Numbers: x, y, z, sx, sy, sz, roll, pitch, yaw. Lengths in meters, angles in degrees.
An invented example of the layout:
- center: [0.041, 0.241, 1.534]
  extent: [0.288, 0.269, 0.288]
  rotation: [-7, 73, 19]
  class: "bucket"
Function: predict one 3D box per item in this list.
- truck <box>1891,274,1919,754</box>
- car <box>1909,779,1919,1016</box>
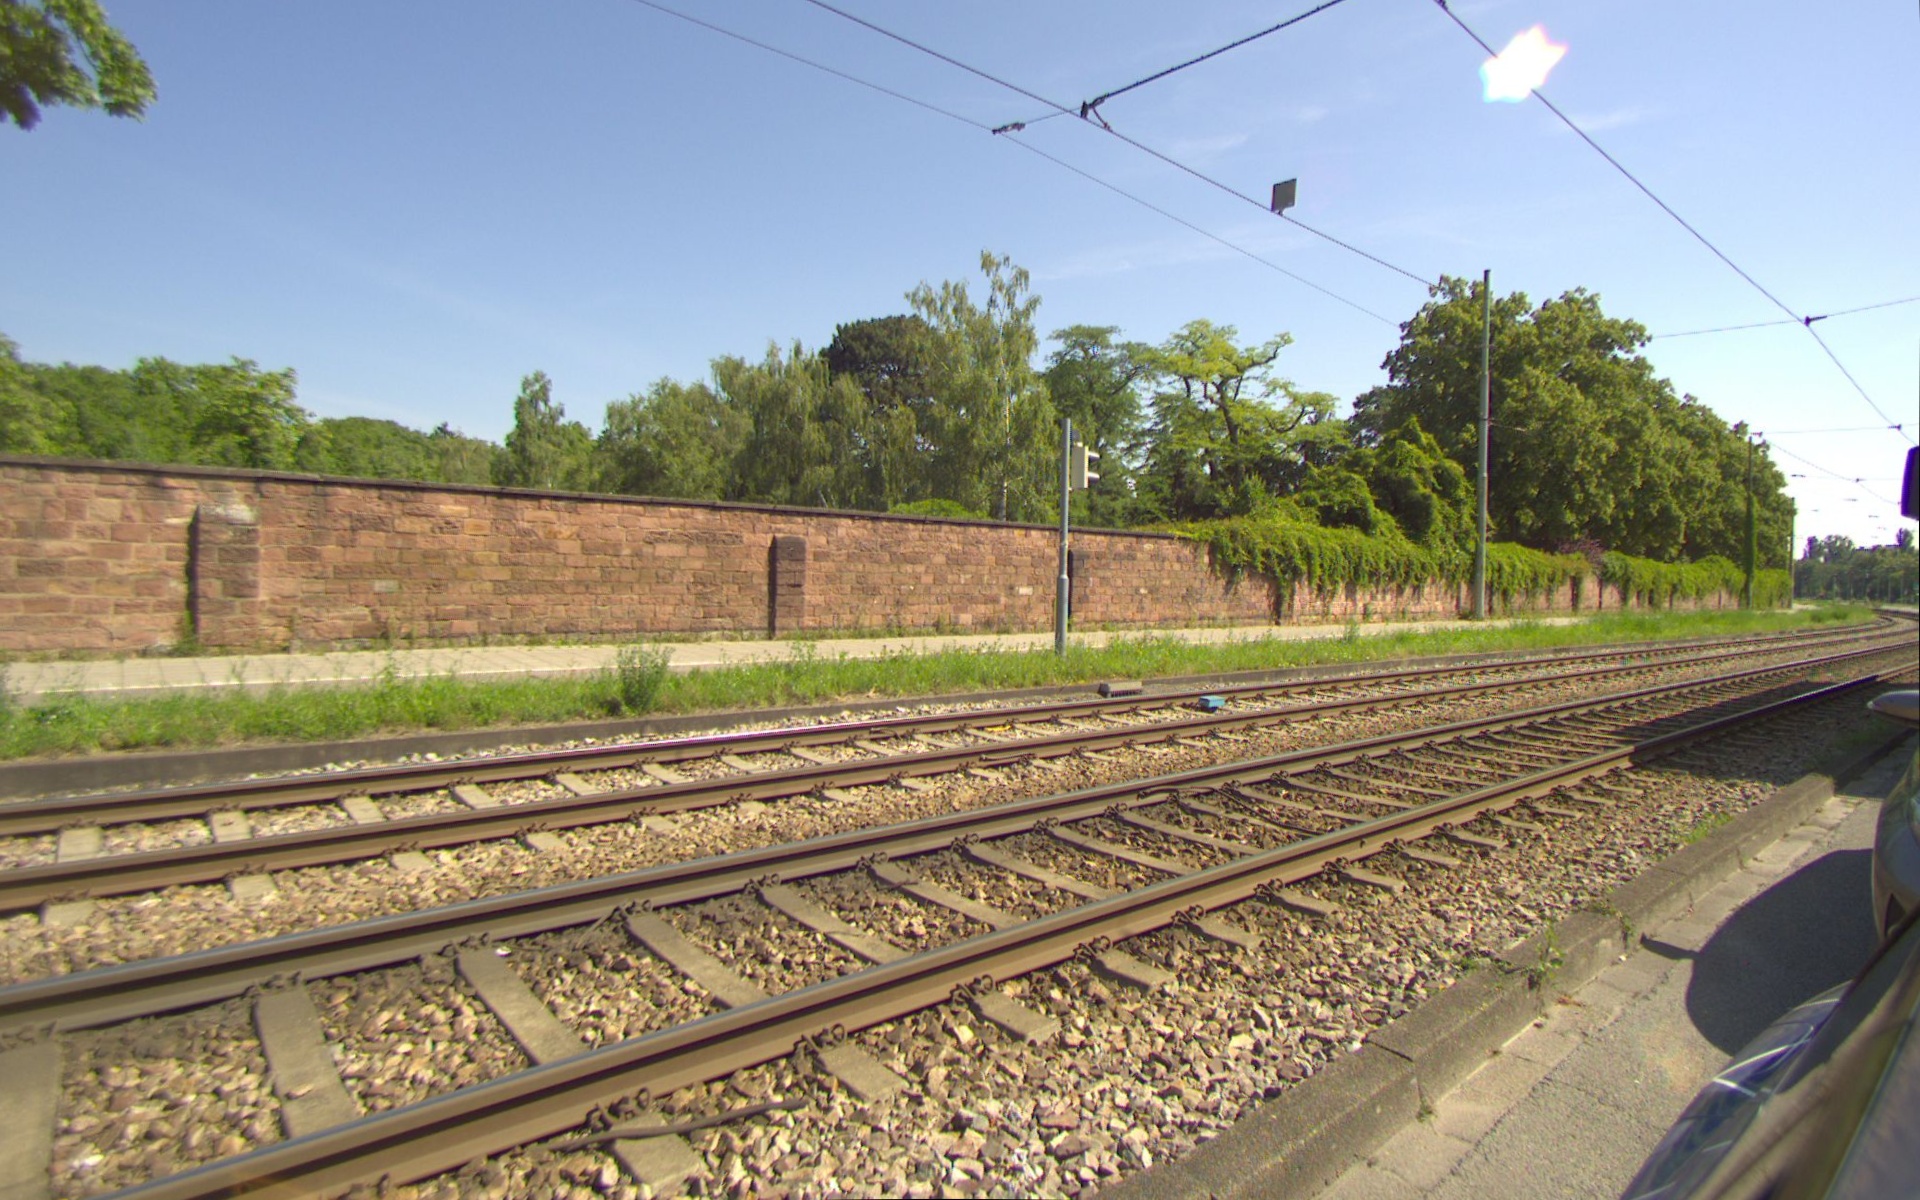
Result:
- center: [14.245, -0.654, 12.046]
  extent: [14.652, 3.927, 2.934]
  rotation: [0, 2, -41]
  class: "truck"
- center: [5.128, 0.668, 4.002]
  extent: [3.930, 1.448, 1.573]
  rotation: [0, 2, -41]
  class: "car"
